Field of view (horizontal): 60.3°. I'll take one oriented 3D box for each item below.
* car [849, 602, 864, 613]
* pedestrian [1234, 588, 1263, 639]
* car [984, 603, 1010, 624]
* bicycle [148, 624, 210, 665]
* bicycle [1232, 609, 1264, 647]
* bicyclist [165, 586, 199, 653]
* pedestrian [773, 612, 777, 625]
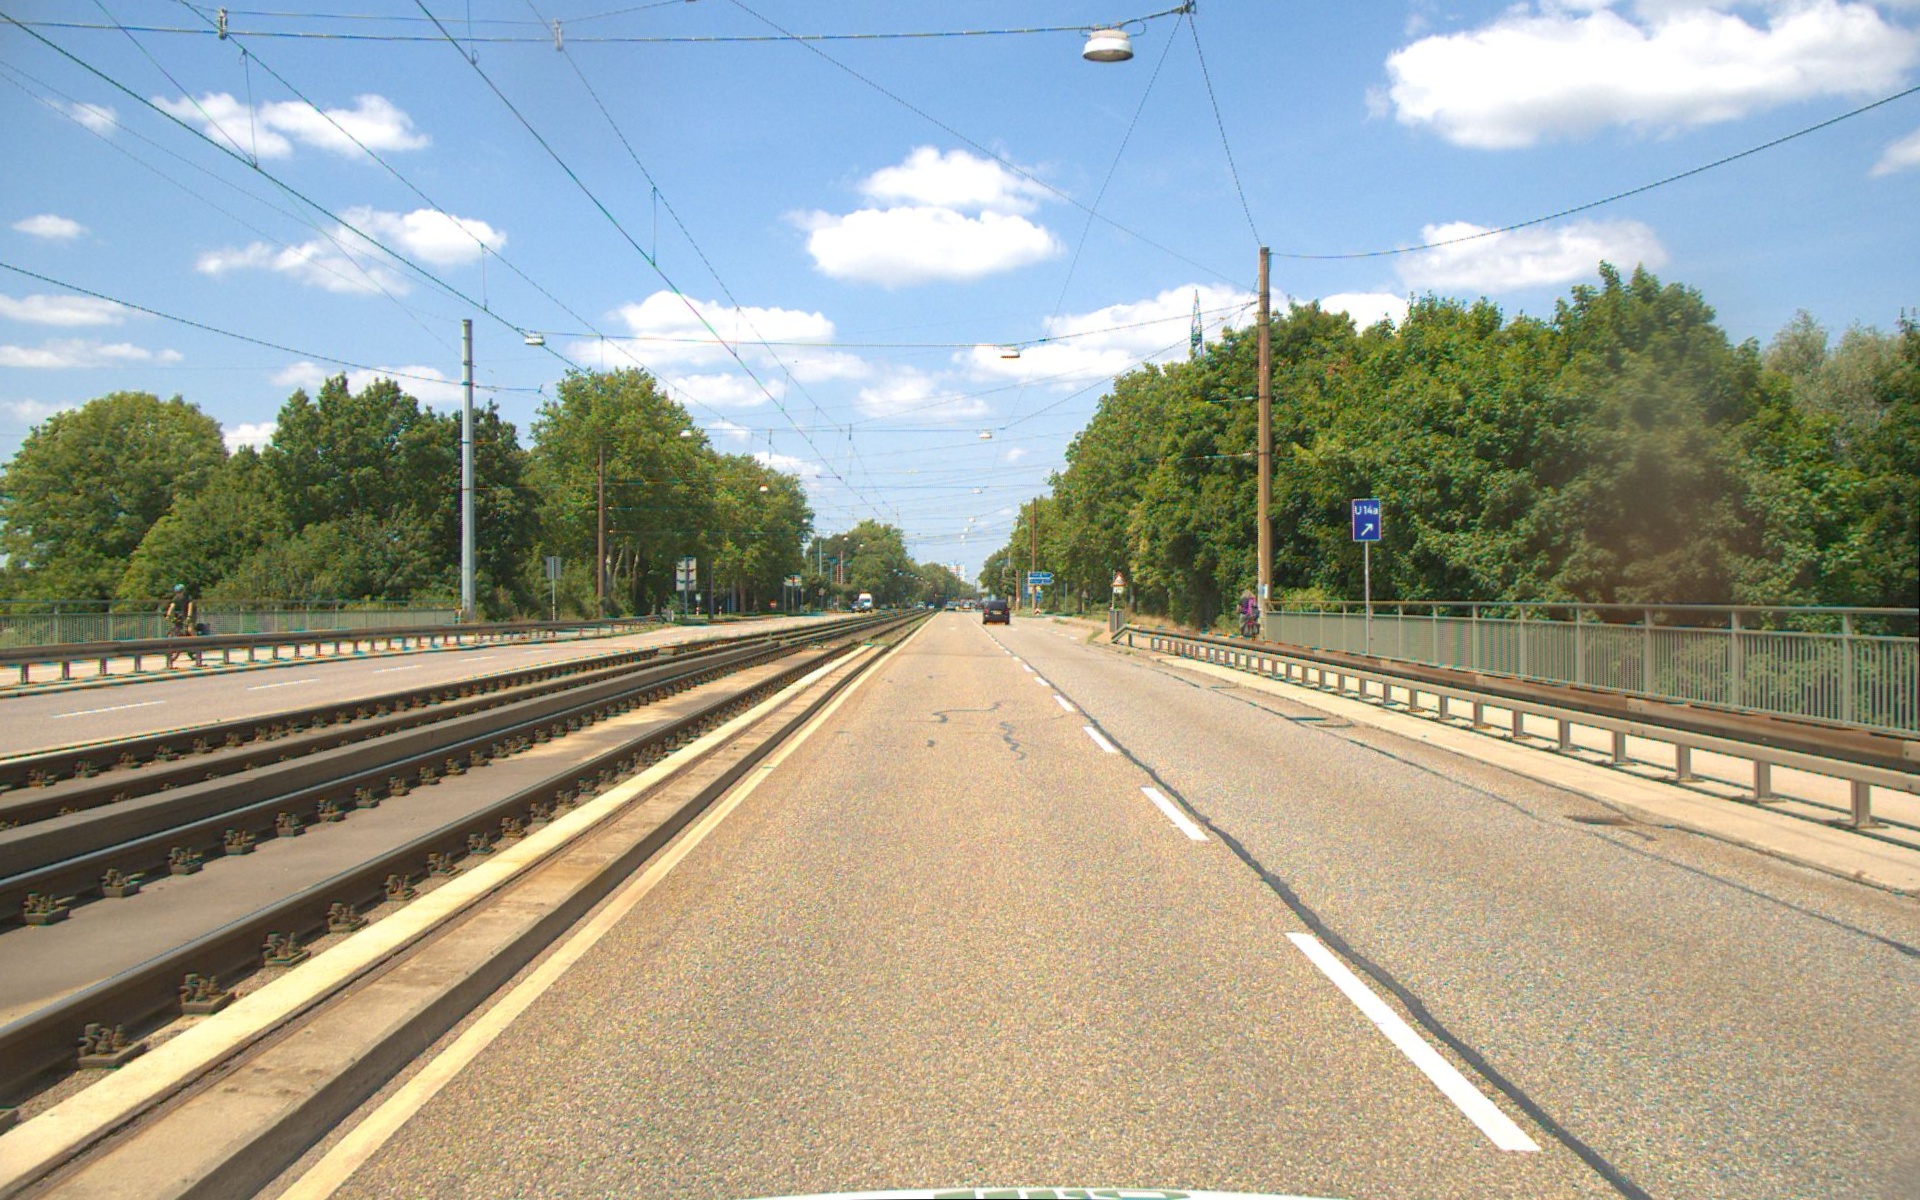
[{"bbox_3d":[-14.496,1.030,231.297,1.780,1.541,4.427,-1,0,0],"label":"car"},{"bbox_3d":[8.064,0.376,46.291,0.615,1.398,1.050,0,0,0],"label":"pedestrian"},{"bbox_3d":[2.410,0.887,109.424,1.554,1.366,3.271,0,0,-2],"label":"car"},{"bbox_3d":[-17.845,0.998,37.816,0.512,0.858,2.035,2,0,-2],"label":"bicycle"},{"bbox_3d":[8.065,0.777,46.379,0.548,1.042,1.848,0,0,0],"label":"bicycle"},{"bbox_3d":[-17.834,0.438,37.911,0.510,1.523,0.529,1,0,-3],"label":"bicyclist"},{"bbox_3d":[-21.750,2.154,194.339,0.503,1.578,0.703,-1,0,-6],"label":"pedestrian"}]
